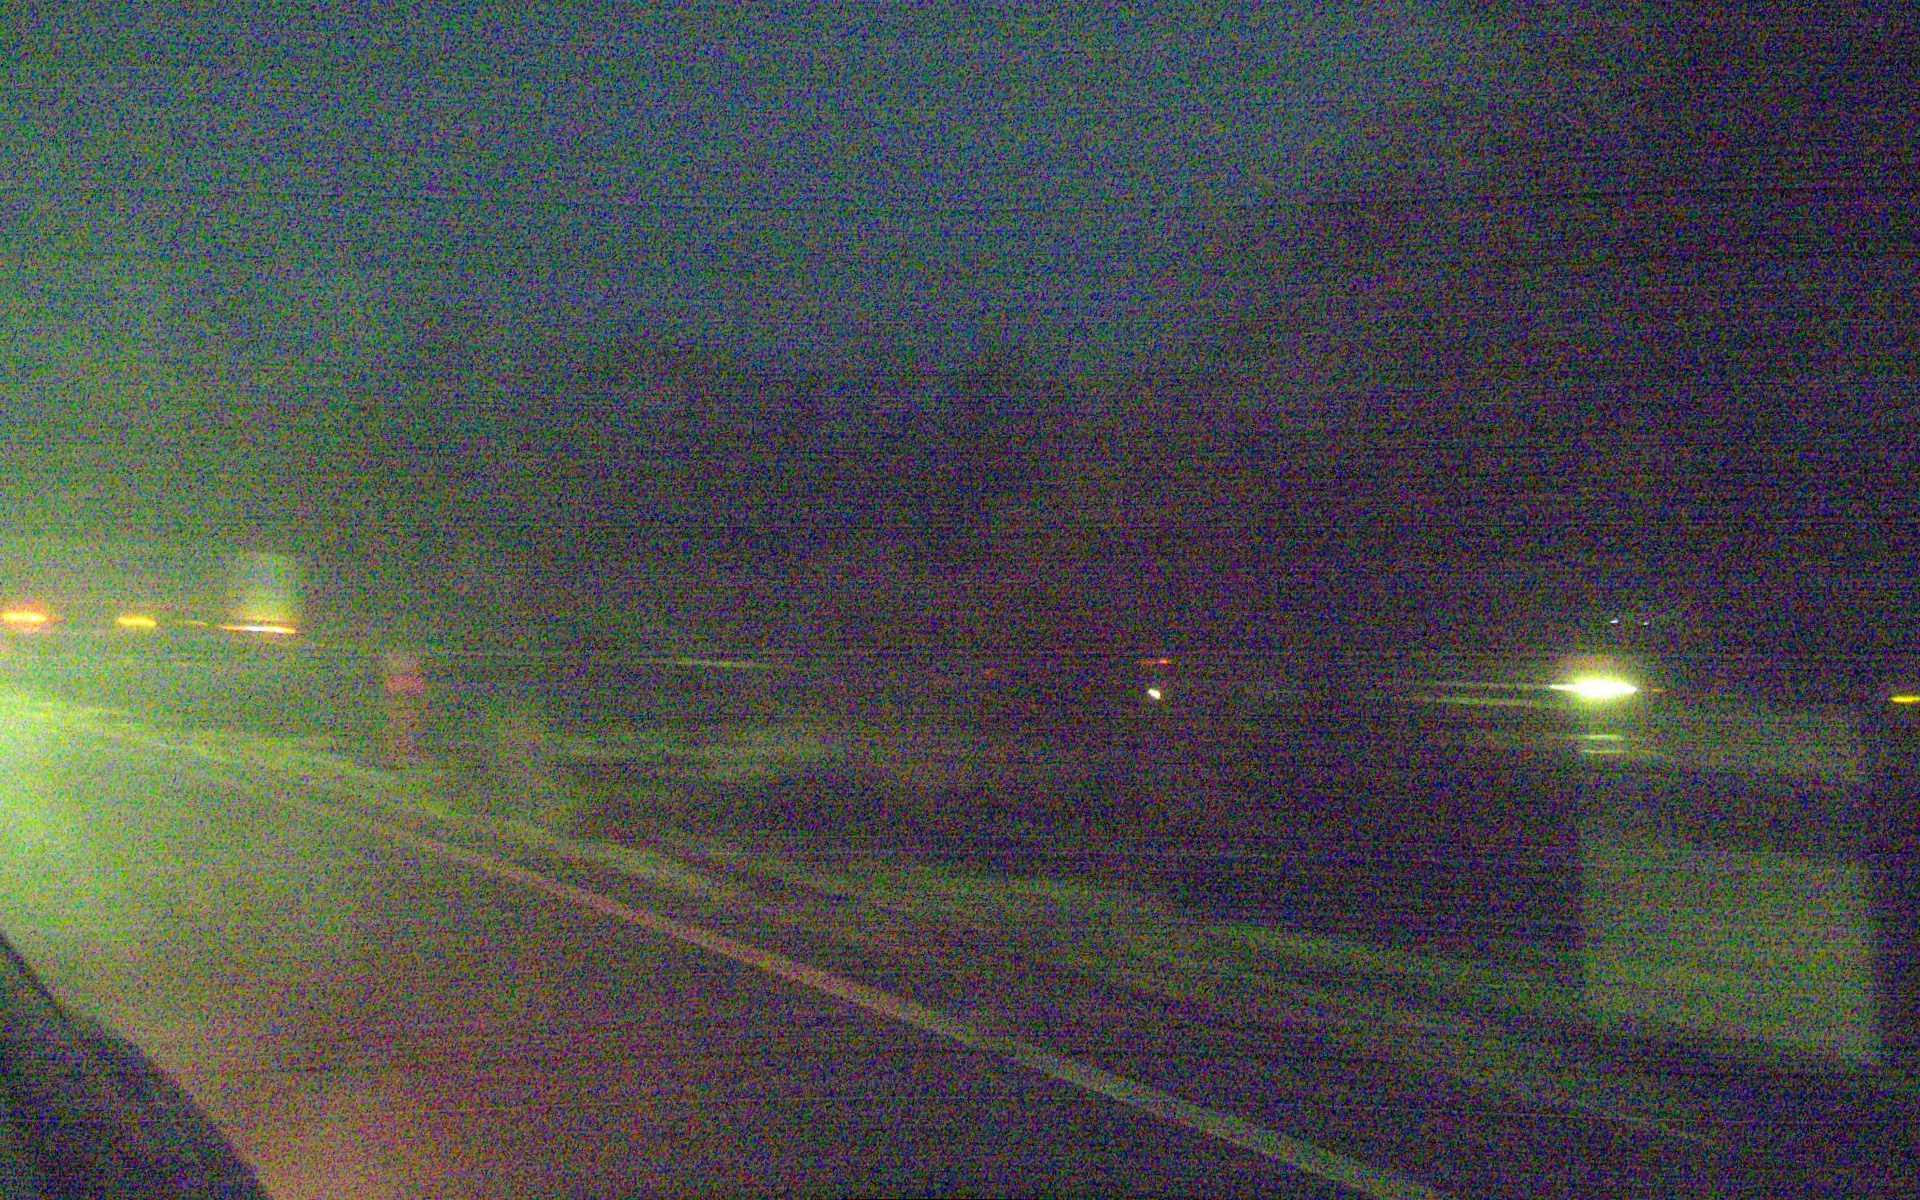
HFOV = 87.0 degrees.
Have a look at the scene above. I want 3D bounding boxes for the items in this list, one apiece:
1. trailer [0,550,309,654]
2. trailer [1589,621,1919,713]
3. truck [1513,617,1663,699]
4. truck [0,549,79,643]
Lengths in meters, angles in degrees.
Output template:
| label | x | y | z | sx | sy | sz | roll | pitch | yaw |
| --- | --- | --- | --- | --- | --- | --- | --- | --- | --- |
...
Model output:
| label | x | y | z | sx | sy | sz | roll | pitch | yaw |
| --- | --- | --- | --- | --- | --- | --- | --- | --- | --- |
| trailer | -35.907 | 0.060 | 44.341 | 13.206 | 3.907 | 3.443 | 2 | -1 | 8 |
| trailer | 30.713 | 2.522 | 37.910 | 12.834 | 2.749 | 1.999 | 3 | -2 | 1 |
| truck | 23.538 | 2.151 | 38.026 | 4.282 | 2.751 | 2.000 | 3 | -2 | 0 |
| truck | -44.585 | -0.215 | 45.463 | 7.368 | 4.003 | 3.403 | 1 | -2 | 7 |
